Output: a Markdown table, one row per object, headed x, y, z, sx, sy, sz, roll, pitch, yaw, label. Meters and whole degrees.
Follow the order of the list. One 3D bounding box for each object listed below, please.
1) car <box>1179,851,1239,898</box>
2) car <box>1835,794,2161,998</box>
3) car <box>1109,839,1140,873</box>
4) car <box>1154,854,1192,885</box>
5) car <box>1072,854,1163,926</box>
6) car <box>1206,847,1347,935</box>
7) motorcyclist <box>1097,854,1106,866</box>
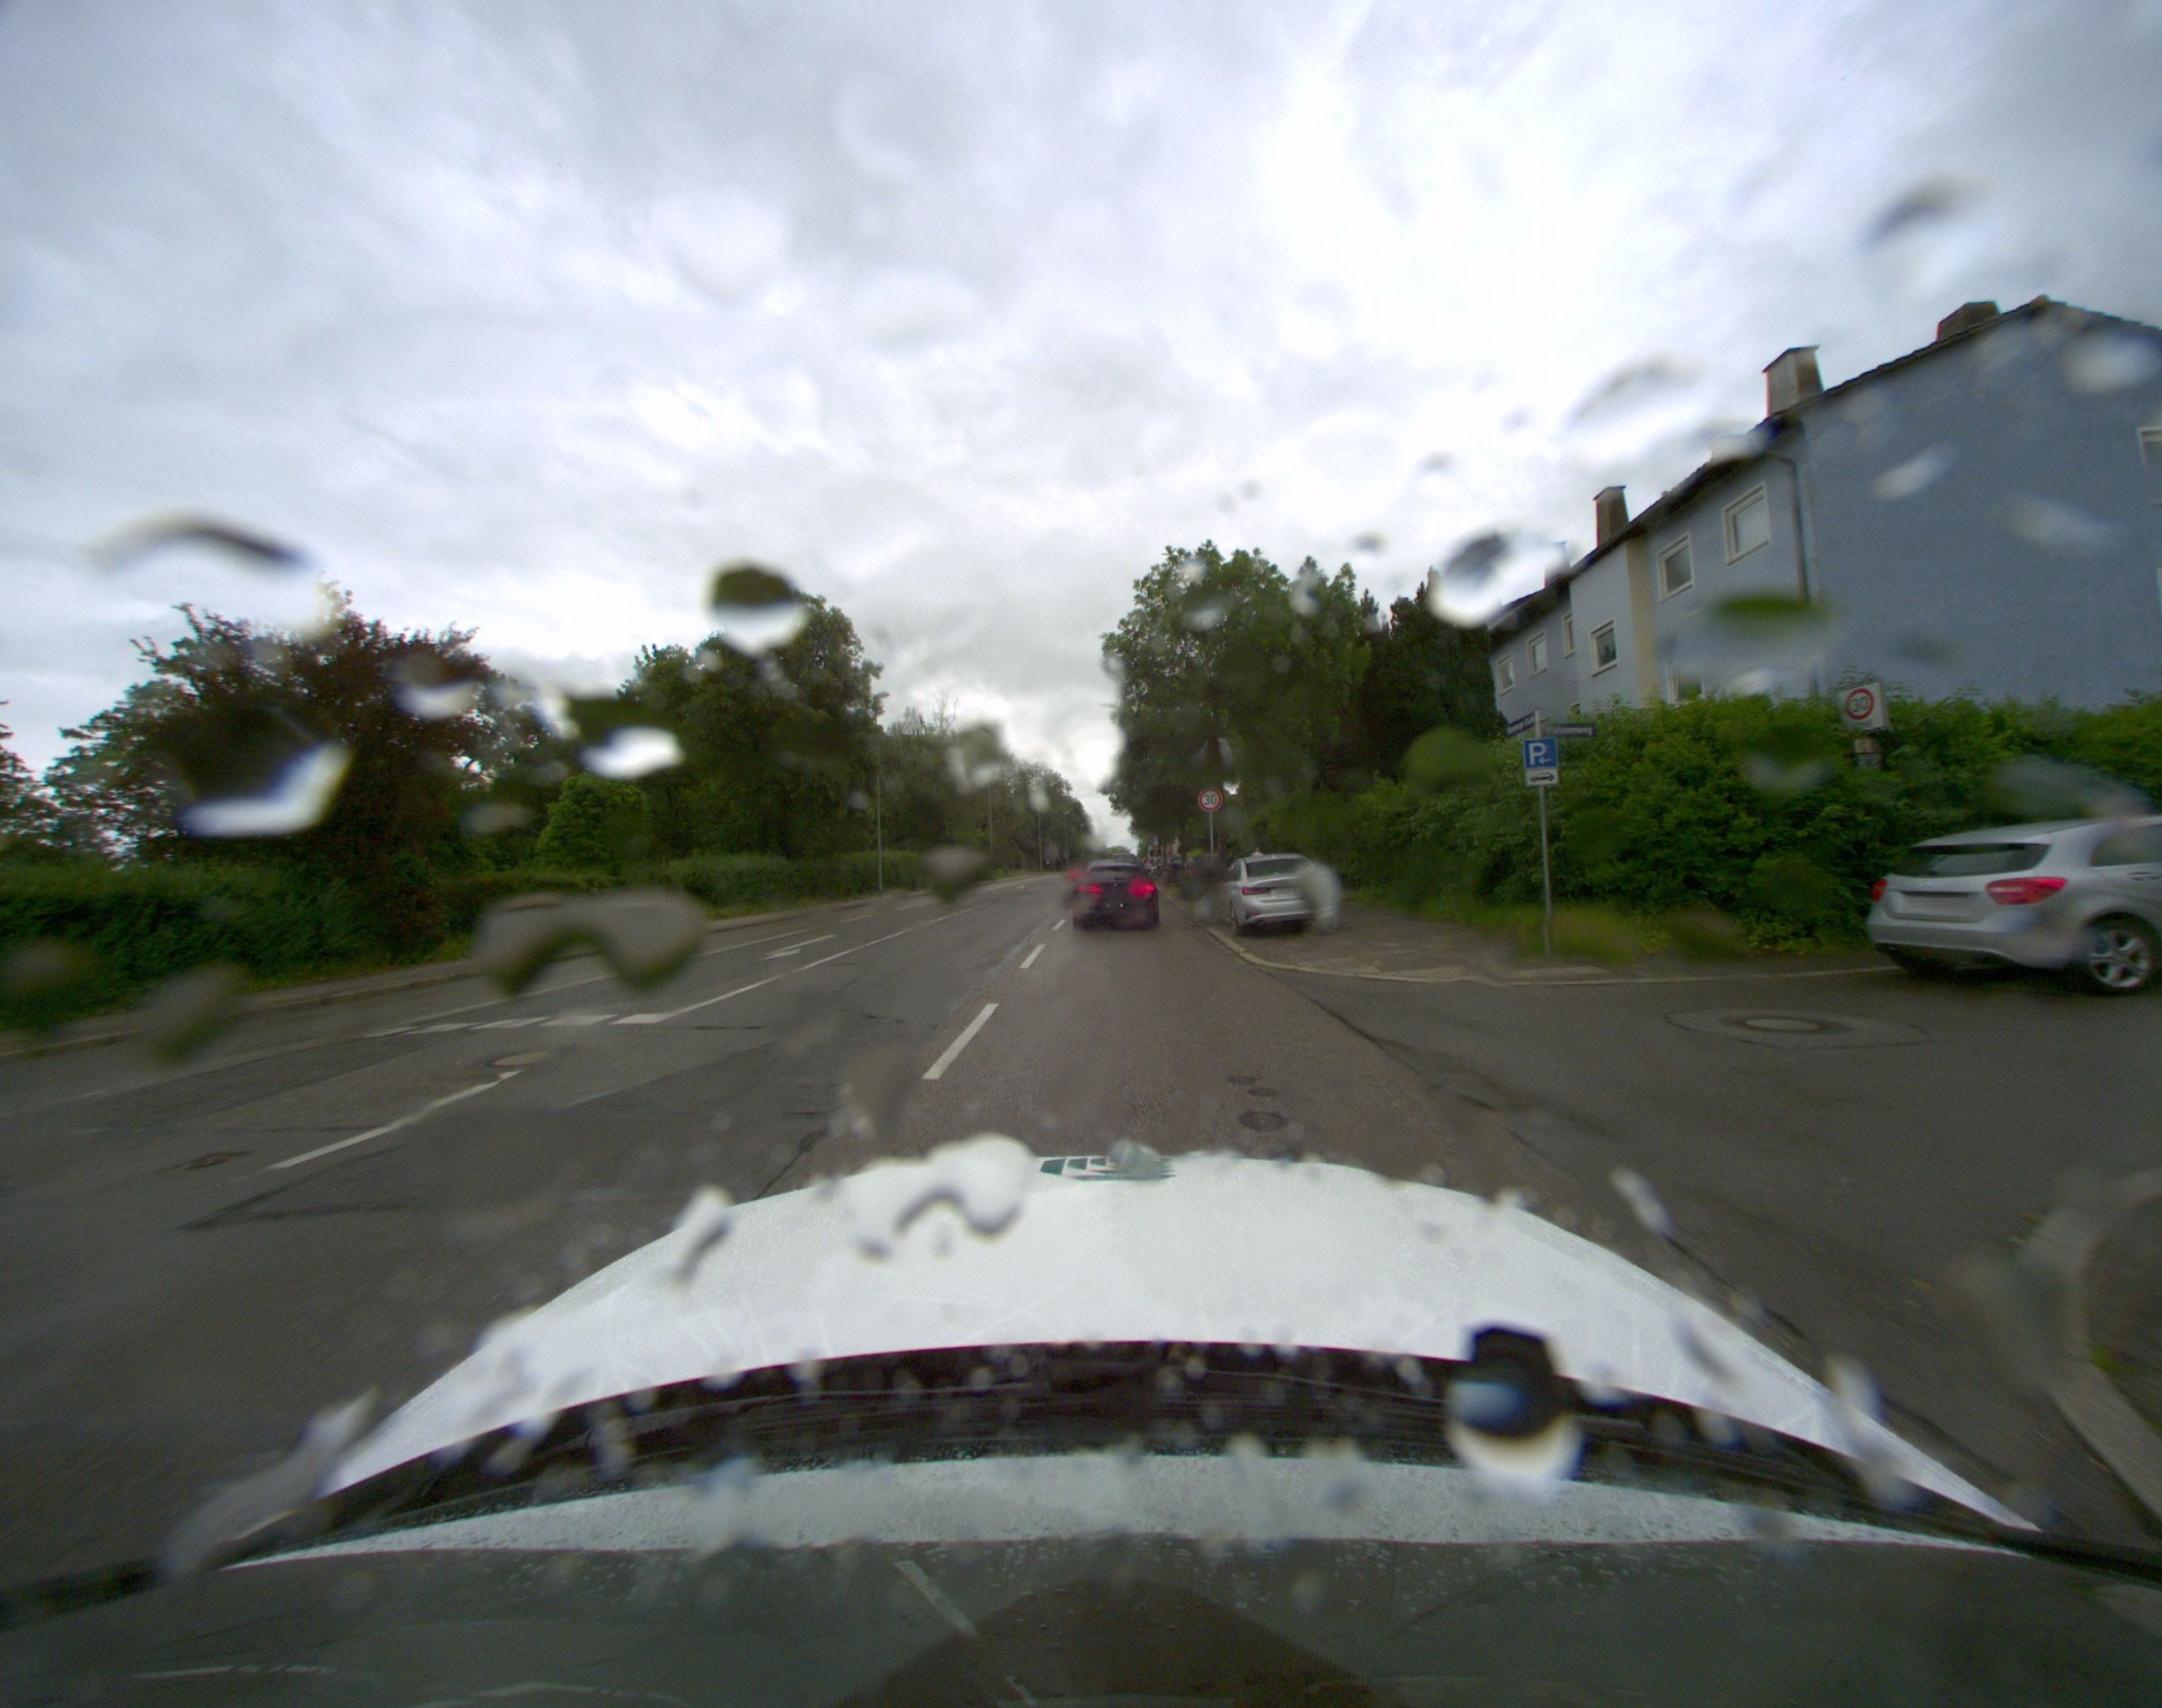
| x | y | z | sx | sy | sz | roll | pitch | yaw | label |
| --- | --- | --- | --- | --- | --- | --- | --- | --- | --- |
| 4.386 | 0.681 | 28.396 | 1.583 | 1.460 | 3.564 | -3 | 0 | 2 | car |
| 9.824 | 0.253 | 7.513 | 3.971 | 1.488 | 1.701 | -6 | 0 | 2 | car |
| 2.557 | 0.110 | 48.729 | 1.623 | 1.833 | 4.001 | -3 | 0 | 1 | car |
| 4.683 | 0.758 | 41.918 | 1.583 | 1.486 | 3.564 | -3 | 0 | 2 | car |
| 0.837 | 0.760 | 18.986 | 1.890 | 1.489 | 4.002 | 0 | 0 | 2 | car |
| 3.708 | 0.642 | 16.237 | 1.927 | 1.442 | 4.412 | -3 | 0 | 3 | car |
| 2.542 | 0.749 | 100.817 | 1.036 | 1.567 | 0.855 | 0 | -1 | 0 | motorcyclist |
